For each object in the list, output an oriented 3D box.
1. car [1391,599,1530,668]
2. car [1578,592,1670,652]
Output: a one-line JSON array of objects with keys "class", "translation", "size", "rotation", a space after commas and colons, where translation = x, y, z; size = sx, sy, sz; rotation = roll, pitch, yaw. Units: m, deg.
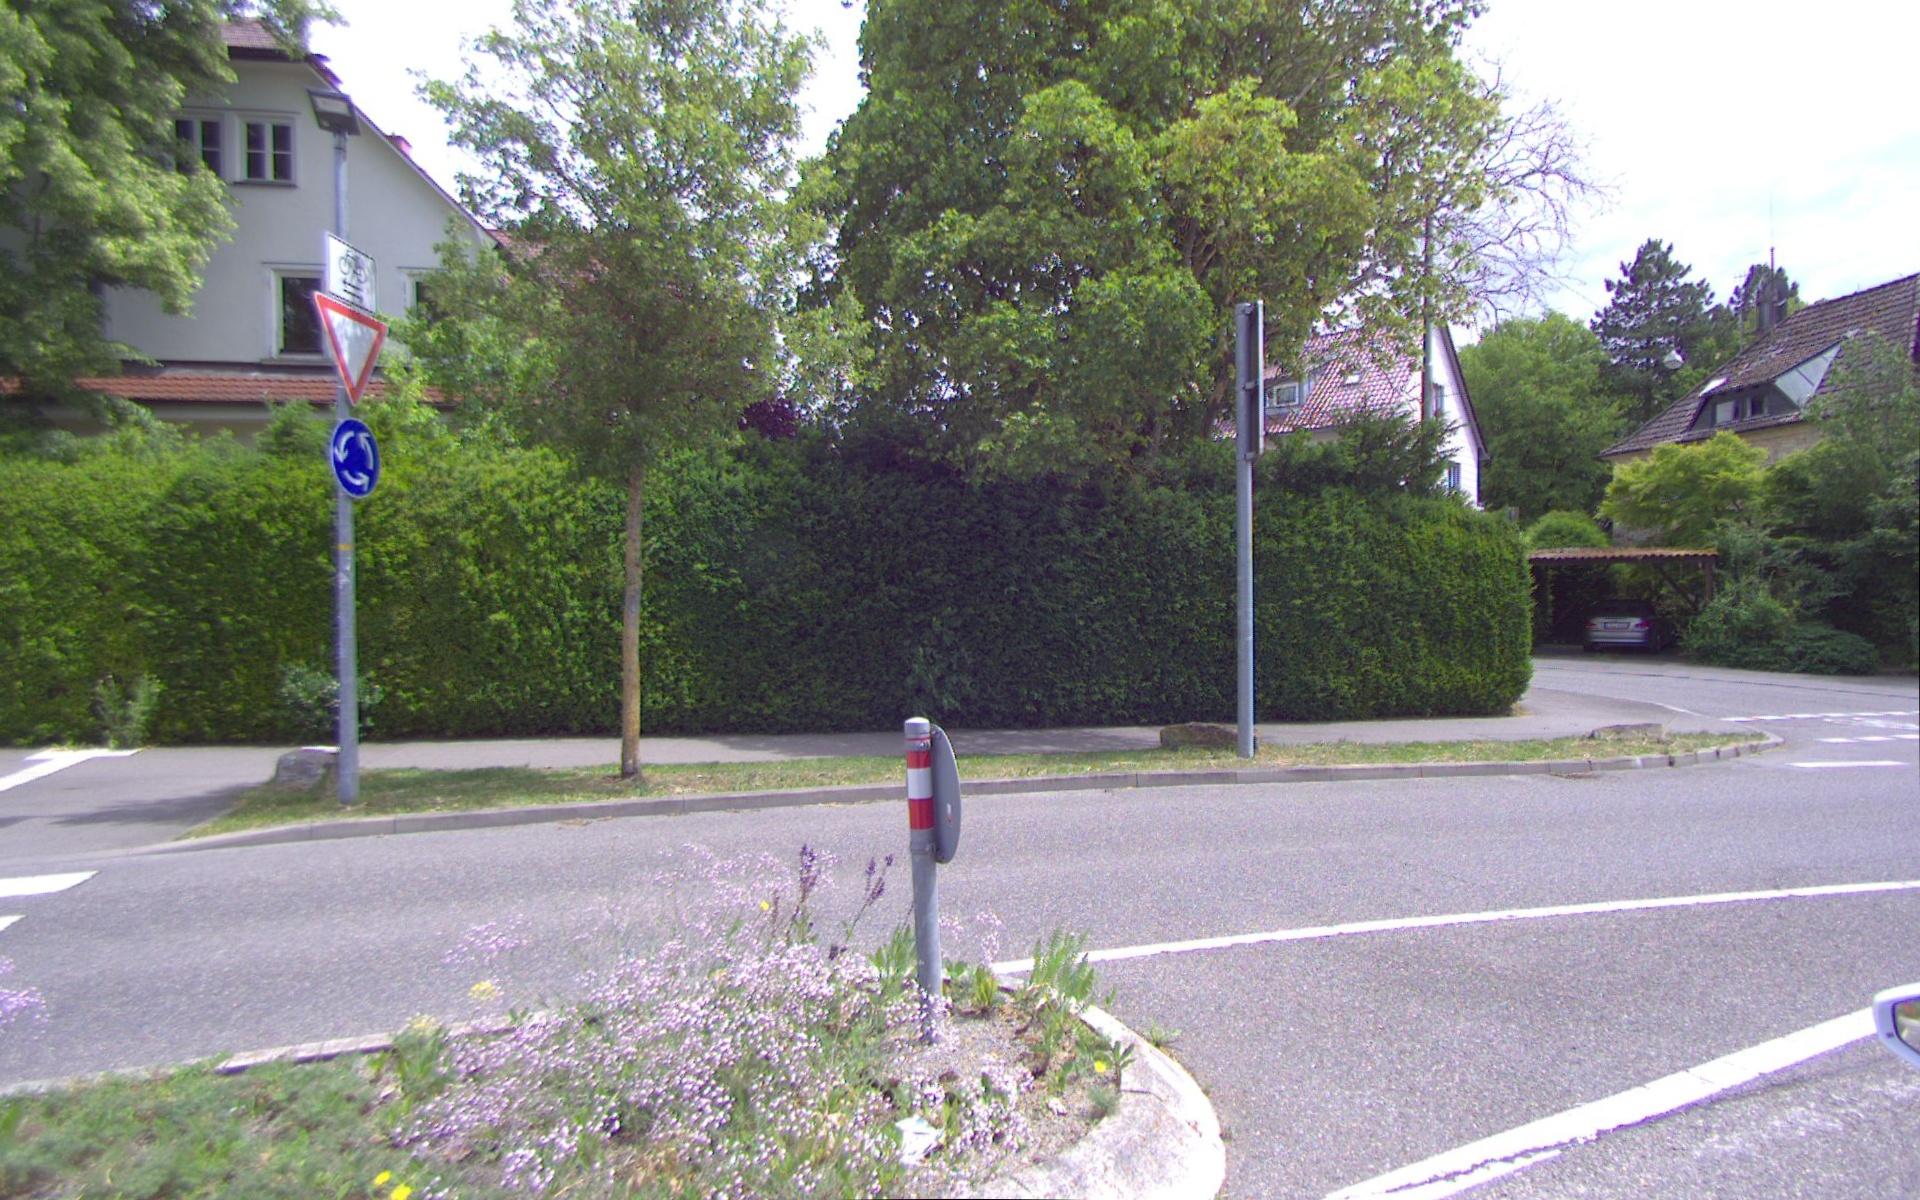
[{"class": "car", "translation": [12.542, 0.794, 25.220], "size": [1.579, 1.576, 2.741], "rotation": [0, 1, -44]}, {"class": "car", "translation": [18.453, 0.554, 27.844], "size": [1.702, 1.530, 3.981], "rotation": [1, 1, 40]}]
